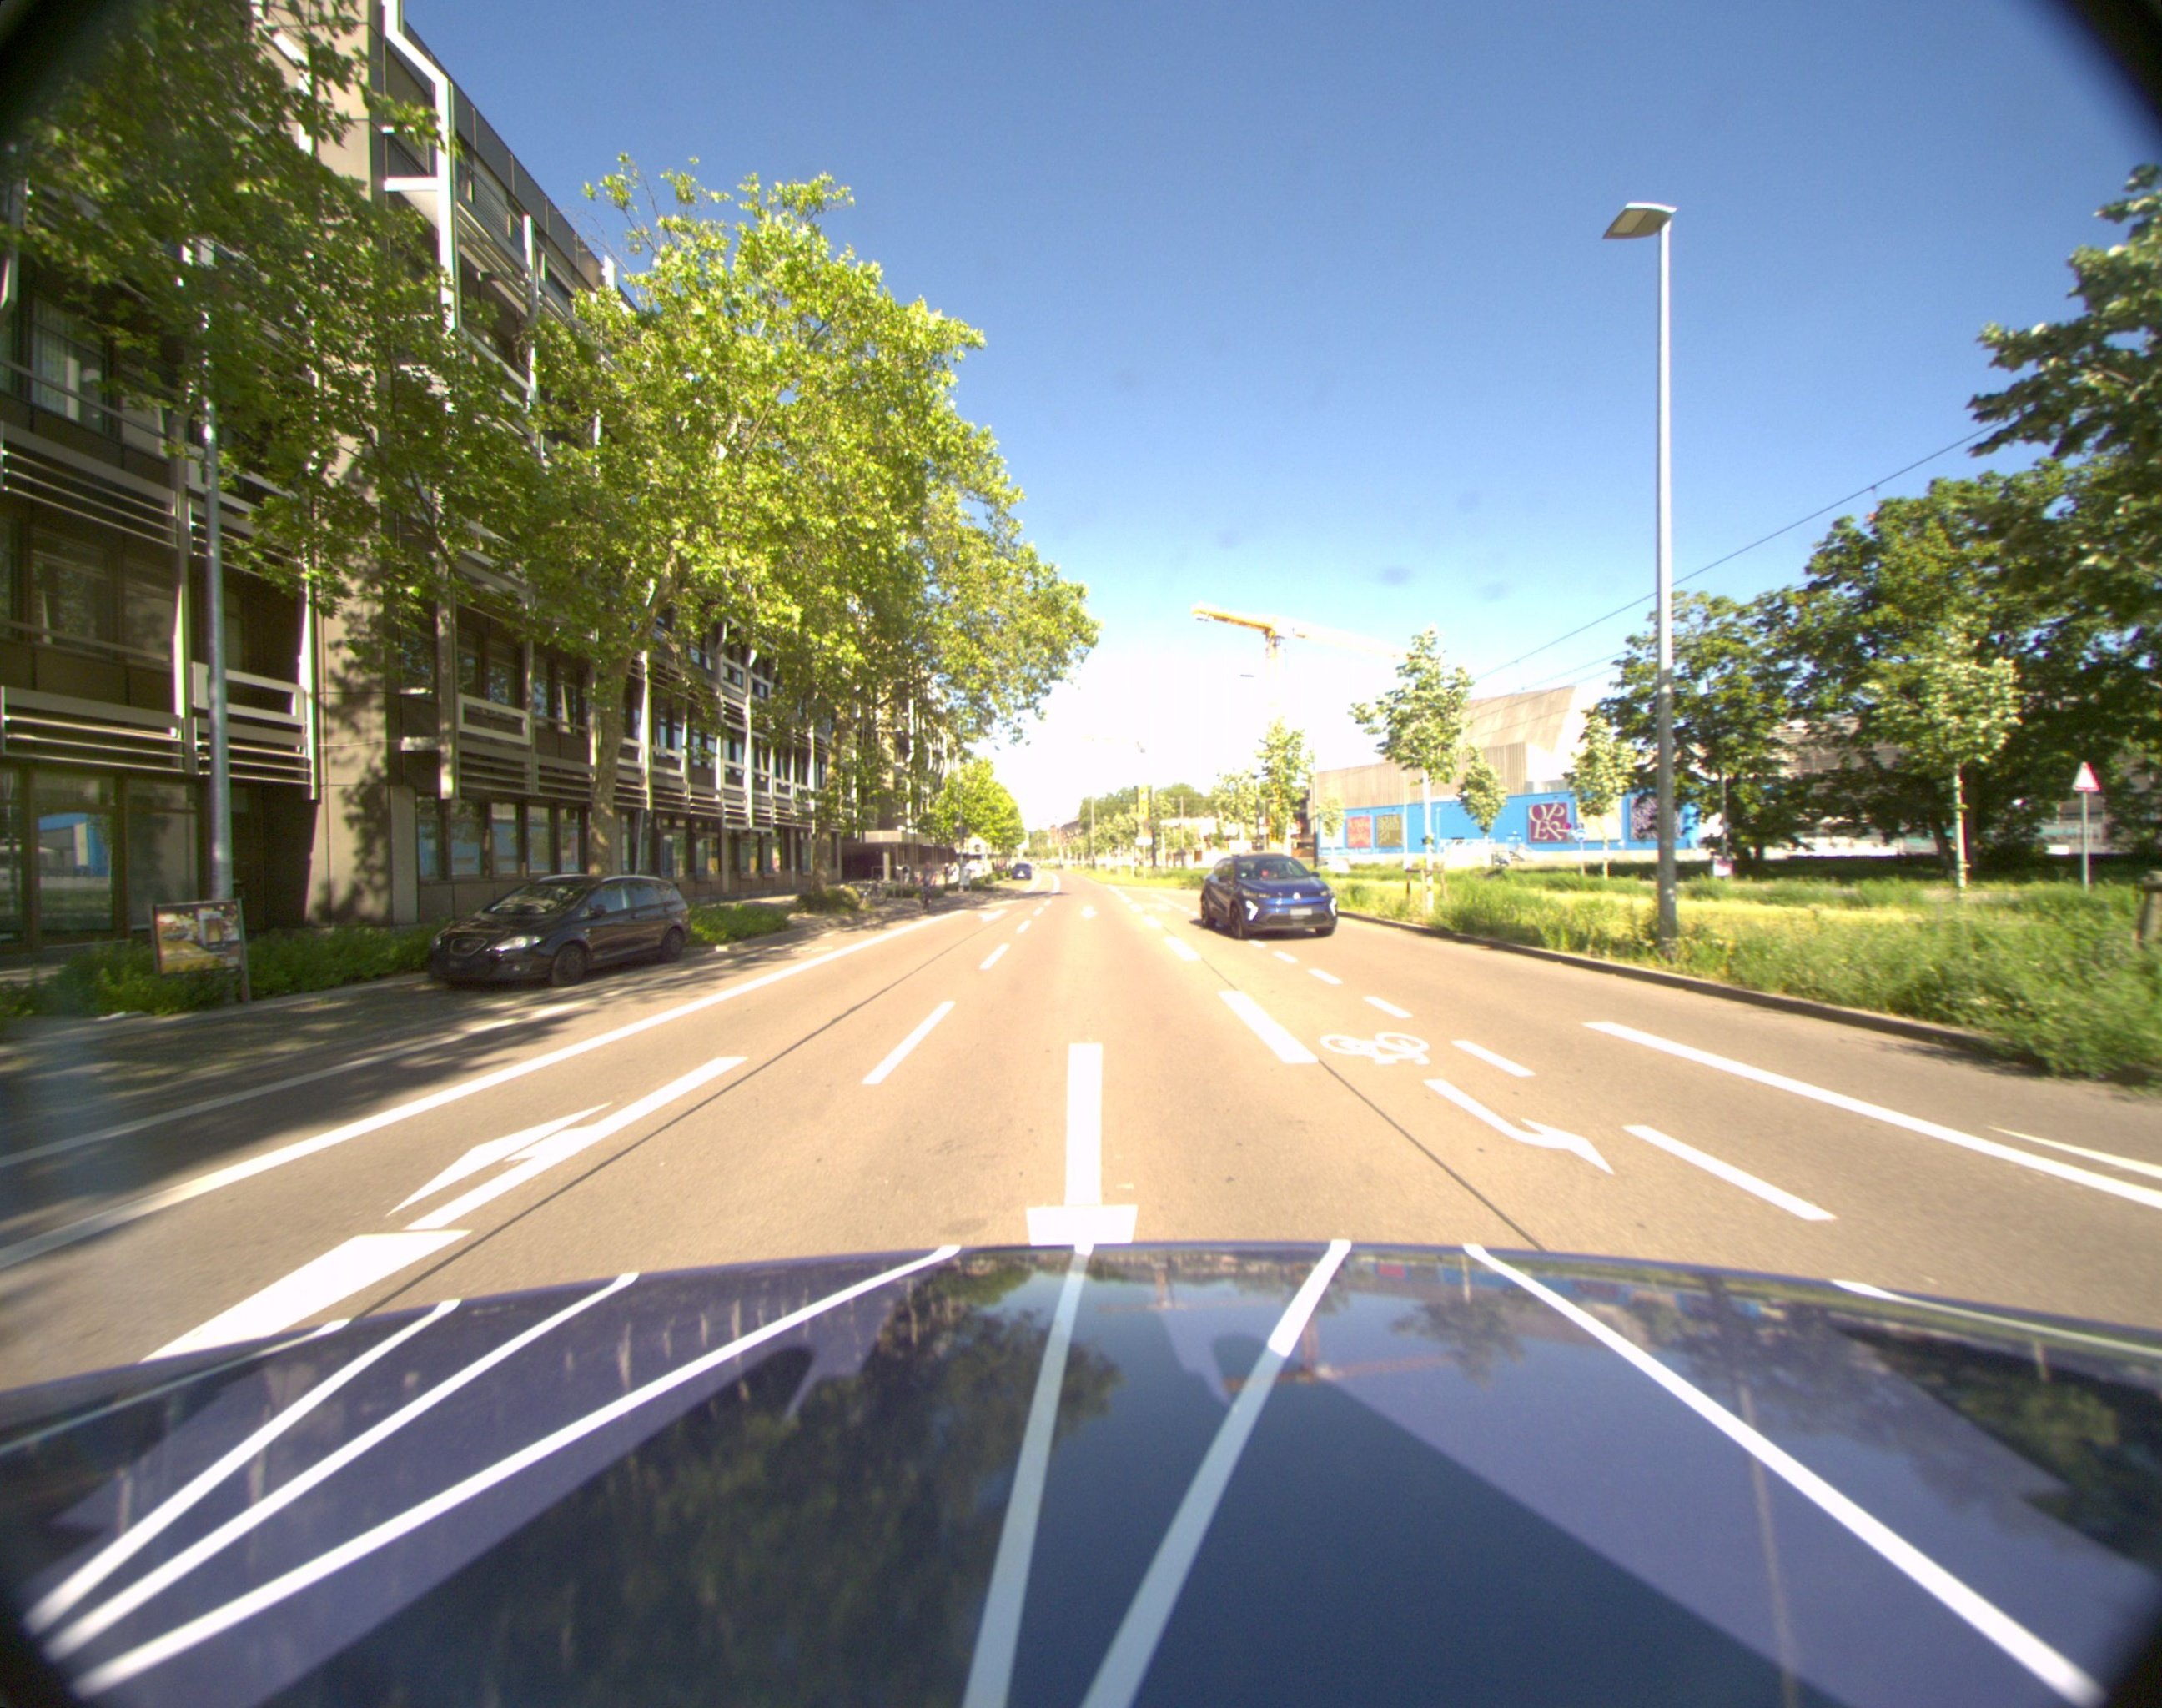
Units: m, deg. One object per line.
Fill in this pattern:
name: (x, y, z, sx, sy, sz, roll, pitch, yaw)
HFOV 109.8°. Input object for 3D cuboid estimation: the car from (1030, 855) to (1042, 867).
car: (-7.888, 1.224, 133.685, 1.822, 1.783, 3.999, -3, 1, 1)

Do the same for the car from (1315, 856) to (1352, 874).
car: (20.384, 0.878, 61.372, 1.637, 1.390, 3.833, -2, 0, -1)

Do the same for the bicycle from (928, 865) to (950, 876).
bicycle: (-12.986, 1.501, 69.470, 1.862, 0.933, 0.427, 1, 0, 2)

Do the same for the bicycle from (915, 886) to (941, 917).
bicycle: (-5.150, 1.577, 25.664, 0.499, 0.900, 2.196, -3, 0, -4)

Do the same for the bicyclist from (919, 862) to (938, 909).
bicyclist: (-5.190, 1.069, 25.880, 0.514, 1.592, 0.536, -1, 1, -4)

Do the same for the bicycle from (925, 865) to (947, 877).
bicycle: (-13.019, 1.548, 68.299, 1.862, 1.005, 0.427, 1, 0, 2)

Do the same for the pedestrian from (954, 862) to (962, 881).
pedestrian: (-9.771, 1.359, 60.251, 0.512, 1.466, 0.736, -2, 0, 0)

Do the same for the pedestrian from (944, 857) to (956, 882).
pedestrian: (-9.099, 1.059, 52.785, 0.649, 1.718, 0.803, -2, 0, 0)

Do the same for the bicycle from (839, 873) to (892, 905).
bicycle: (-8.628, 1.398, 30.451, 1.942, 1.229, 0.579, 0, 0, -2)

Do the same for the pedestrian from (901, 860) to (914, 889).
pedestrian: (-10.276, 1.180, 44.974, 0.512, 1.691, 0.774, -2, 0, 0)

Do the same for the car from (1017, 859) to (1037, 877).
car: (-5.338, 1.359, 75.382, 1.854, 1.647, 4.847, 0, 0, -2)

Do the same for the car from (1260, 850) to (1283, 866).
car: (24.017, 0.467, 95.924, 1.802, 1.787, 4.000, -3, 1, 1)

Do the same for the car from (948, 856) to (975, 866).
car: (-20.622, 1.241, 130.841, 4.411, 1.535, 1.851, -1, 0, -16)

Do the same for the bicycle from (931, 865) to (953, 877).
bicycle: (-12.222, 1.491, 66.847, 1.862, 1.091, 0.427, 1, 0, 2)

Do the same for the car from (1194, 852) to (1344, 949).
car: (3.522, 0.807, 15.056, 1.749, 1.613, 4.152, -2, 0, -3)

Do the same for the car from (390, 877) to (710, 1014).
car: (-8.019, 1.256, 12.156, 1.708, 1.633, 4.637, 0, 0, 3)
